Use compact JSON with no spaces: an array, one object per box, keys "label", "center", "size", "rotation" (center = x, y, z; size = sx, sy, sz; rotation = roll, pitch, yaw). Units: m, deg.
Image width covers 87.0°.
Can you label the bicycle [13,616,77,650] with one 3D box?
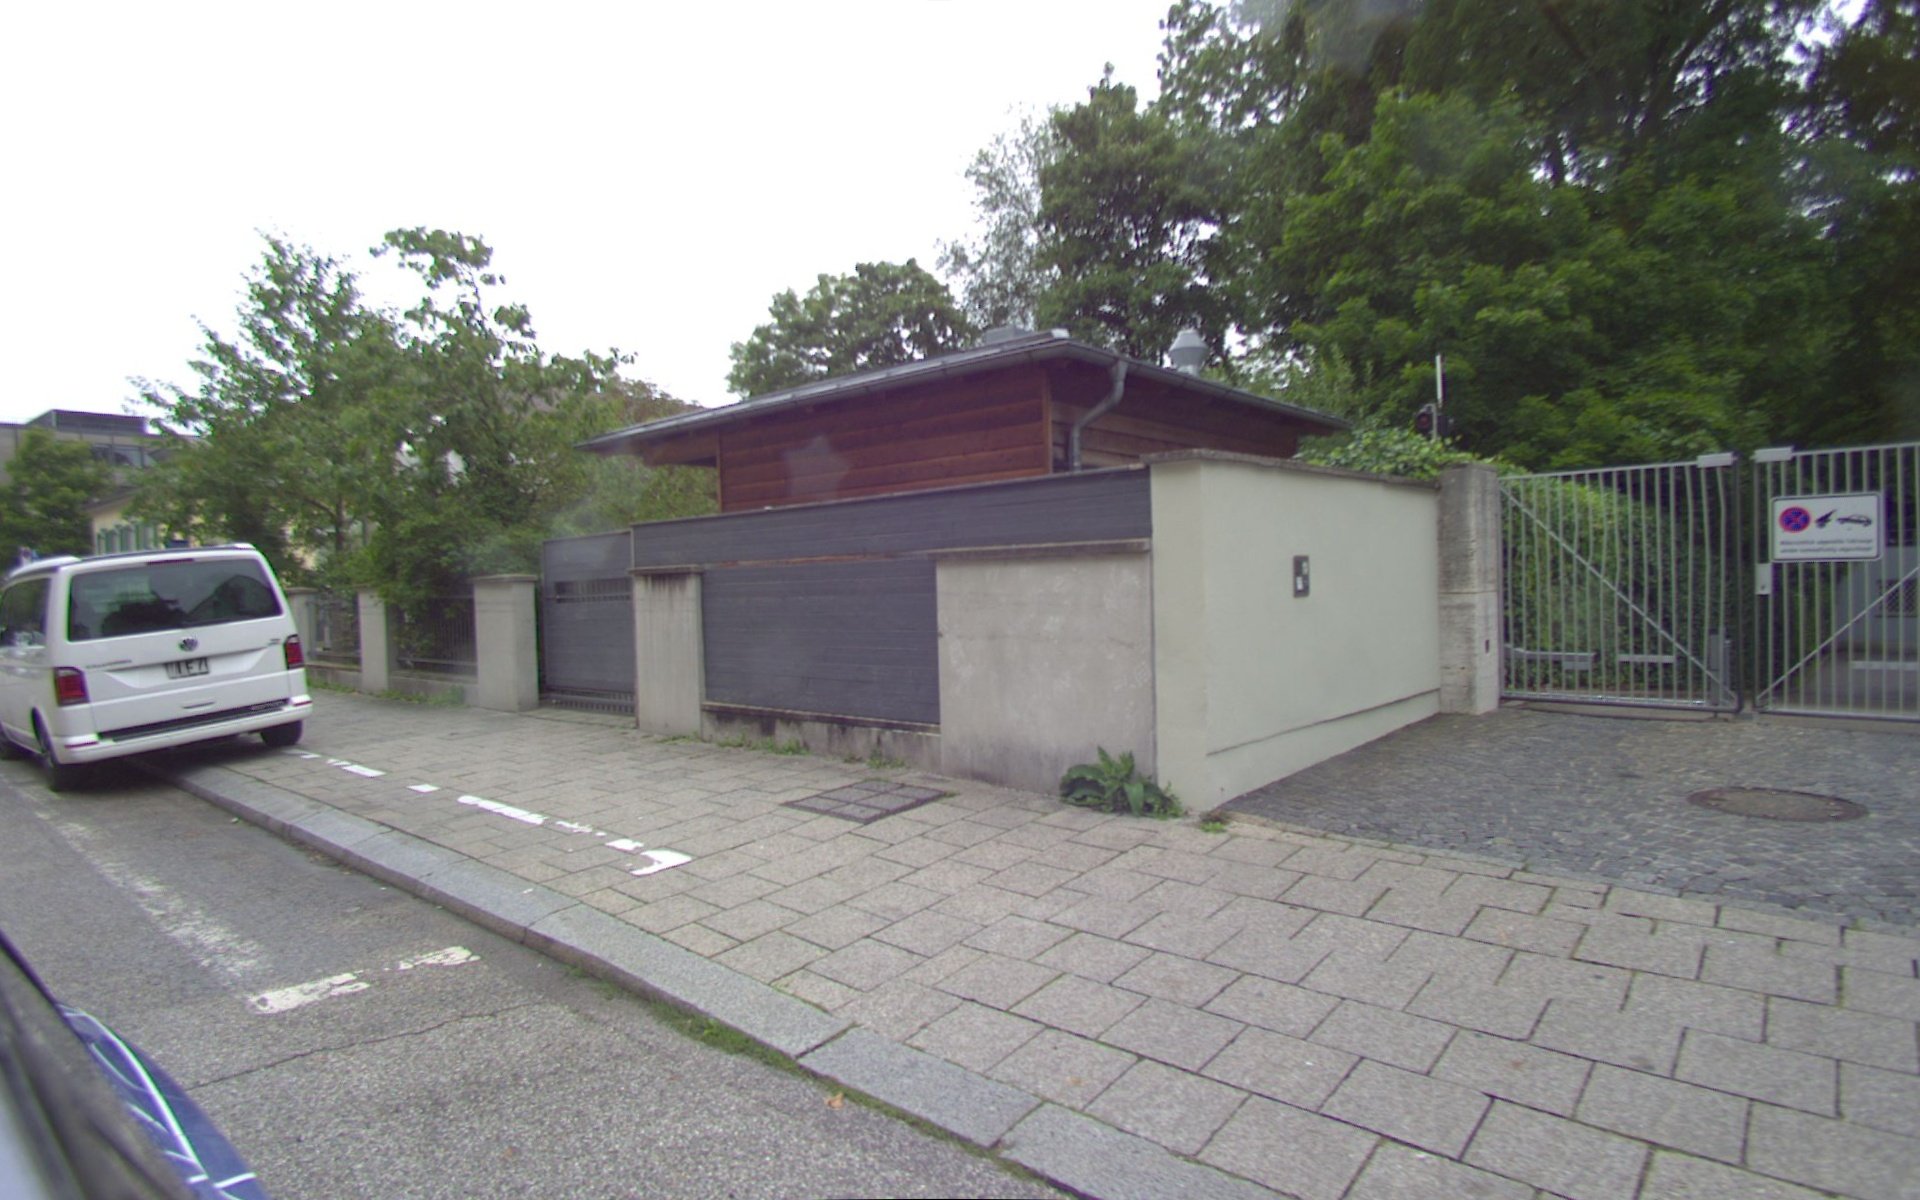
[{"label":"bicycle","center":[-32.796,1.173,36.291],"size":[0.387,1.145,1.612],"rotation":[-1,1,39]}]

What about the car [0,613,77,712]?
[{"label":"car","center":[-16.634,1.013,17.350],"size":[4.187,1.556,1.839],"rotation":[-1,0,43]}]

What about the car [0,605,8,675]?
[{"label":"car","center":[-24.687,1.007,24.656],"size":[4.743,1.619,1.826],"rotation":[-1,3,43]}]

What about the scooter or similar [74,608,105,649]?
[{"label":"scooter or similar","center":[-29.931,0.951,34.810],"size":[0.370,1.353,1.357],"rotation":[-2,1,-22]}]

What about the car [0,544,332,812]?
[{"label":"car","center":[-8.336,0.587,10.047],"size":[5.147,2.005,1.947],"rotation":[-1,3,40]}]

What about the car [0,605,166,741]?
[{"label":"car","center":[-12.828,0.913,13.974],"size":[4.690,1.555,1.869],"rotation":[-1,1,39]}]

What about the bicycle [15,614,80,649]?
[{"label":"bicycle","center":[-33.013,1.137,36.618],"size":[0.352,1.180,1.684],"rotation":[-1,1,39]}]
